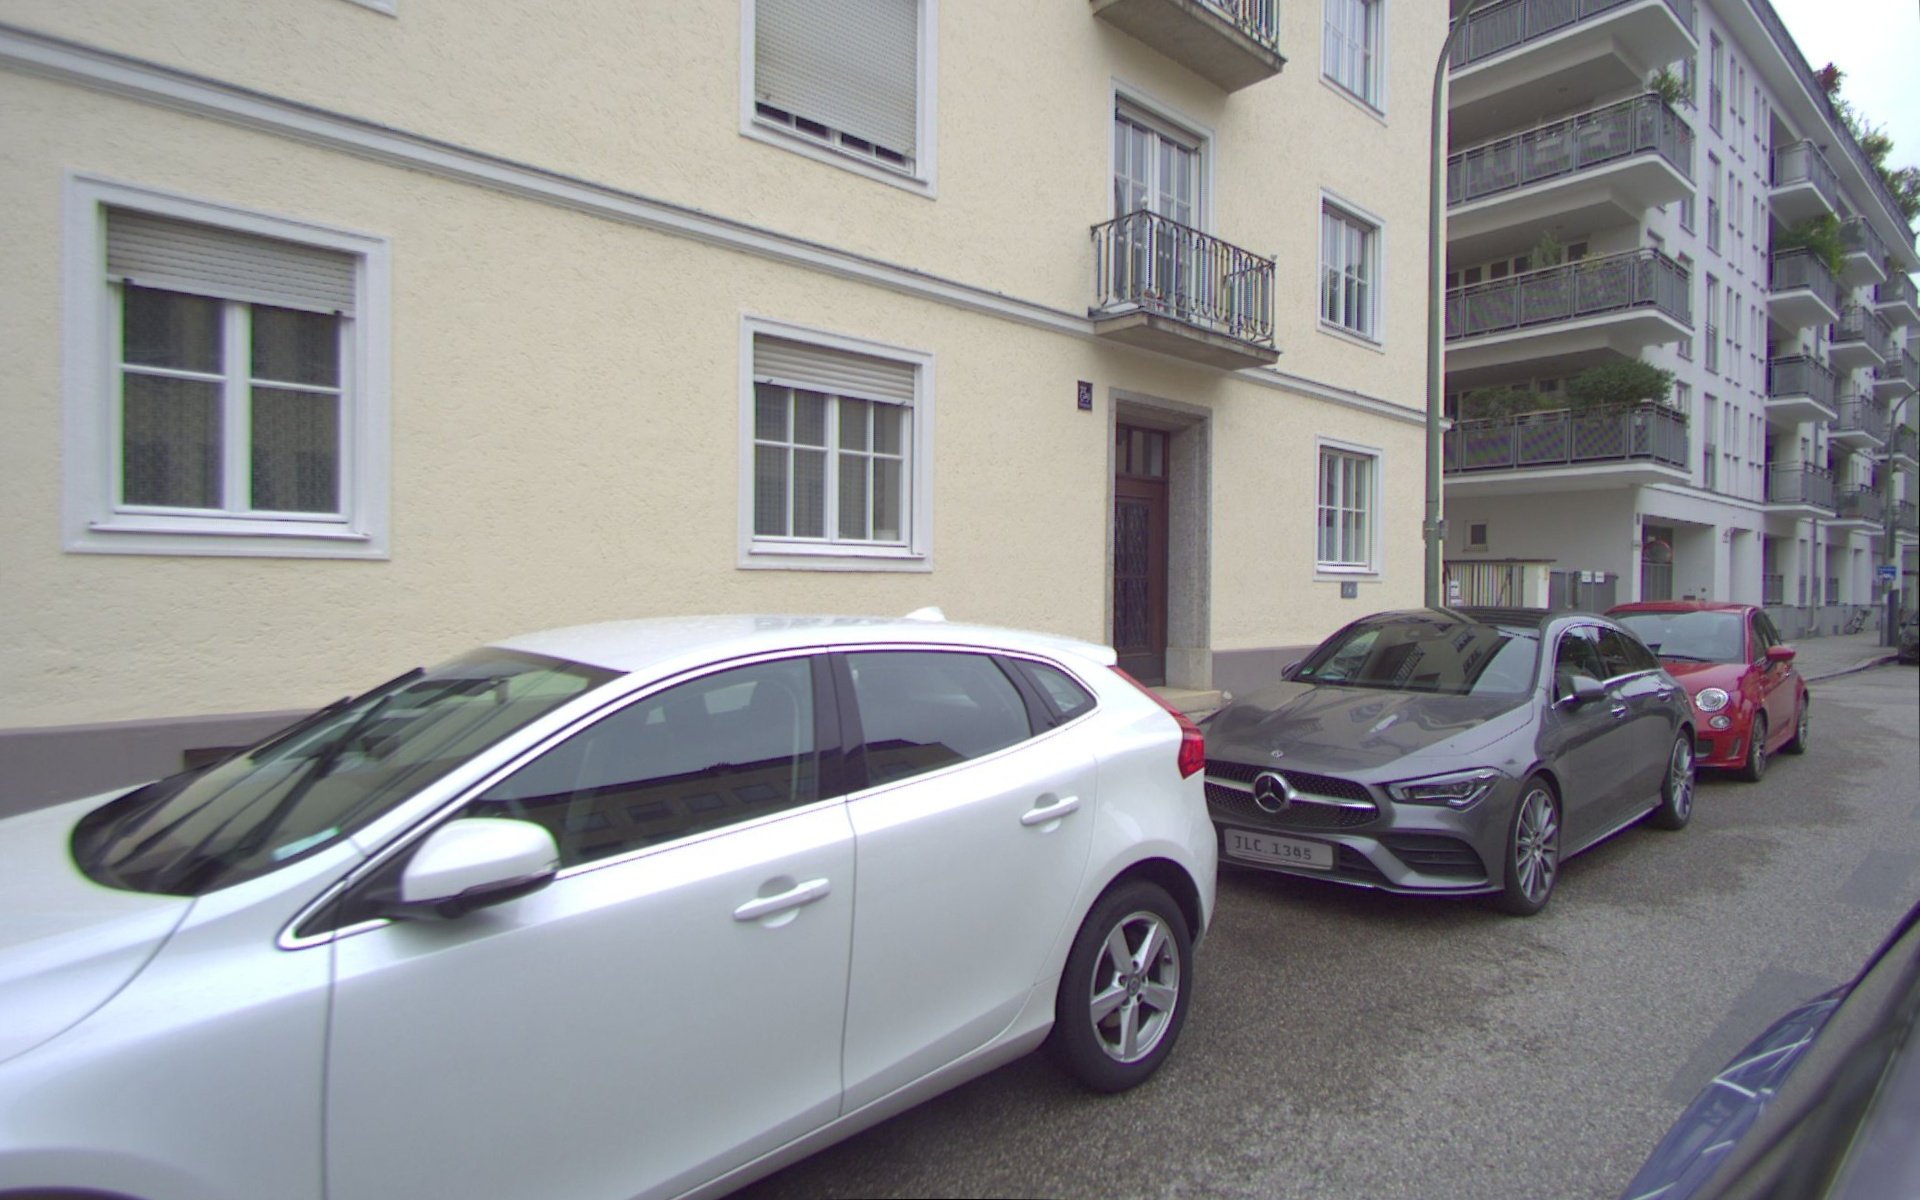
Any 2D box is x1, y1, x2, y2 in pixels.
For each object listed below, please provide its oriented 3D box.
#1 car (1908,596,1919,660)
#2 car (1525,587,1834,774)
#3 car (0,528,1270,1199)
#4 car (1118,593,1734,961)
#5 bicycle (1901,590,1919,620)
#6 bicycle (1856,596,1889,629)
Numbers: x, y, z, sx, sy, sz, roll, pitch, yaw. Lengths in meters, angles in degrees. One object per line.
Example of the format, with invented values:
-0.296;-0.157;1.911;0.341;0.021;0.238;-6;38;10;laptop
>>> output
24.576;0.670;24.743;4.146;1.494;1.773;0;0;-43;car
6.995;0.625;9.704;3.691;1.448;1.657;0;0;-42;car
-1.087;0.630;2.653;4.220;1.448;1.727;0;0;-42;car
3.104;0.700;6.186;4.535;1.448;1.775;0;0;-42;car
39.309;0.191;41.508;1.938;1.187;0.803;0;0;-40;bicycle
32.679;0.435;36.234;1.778;1.111;0.570;0;4;-40;bicycle
